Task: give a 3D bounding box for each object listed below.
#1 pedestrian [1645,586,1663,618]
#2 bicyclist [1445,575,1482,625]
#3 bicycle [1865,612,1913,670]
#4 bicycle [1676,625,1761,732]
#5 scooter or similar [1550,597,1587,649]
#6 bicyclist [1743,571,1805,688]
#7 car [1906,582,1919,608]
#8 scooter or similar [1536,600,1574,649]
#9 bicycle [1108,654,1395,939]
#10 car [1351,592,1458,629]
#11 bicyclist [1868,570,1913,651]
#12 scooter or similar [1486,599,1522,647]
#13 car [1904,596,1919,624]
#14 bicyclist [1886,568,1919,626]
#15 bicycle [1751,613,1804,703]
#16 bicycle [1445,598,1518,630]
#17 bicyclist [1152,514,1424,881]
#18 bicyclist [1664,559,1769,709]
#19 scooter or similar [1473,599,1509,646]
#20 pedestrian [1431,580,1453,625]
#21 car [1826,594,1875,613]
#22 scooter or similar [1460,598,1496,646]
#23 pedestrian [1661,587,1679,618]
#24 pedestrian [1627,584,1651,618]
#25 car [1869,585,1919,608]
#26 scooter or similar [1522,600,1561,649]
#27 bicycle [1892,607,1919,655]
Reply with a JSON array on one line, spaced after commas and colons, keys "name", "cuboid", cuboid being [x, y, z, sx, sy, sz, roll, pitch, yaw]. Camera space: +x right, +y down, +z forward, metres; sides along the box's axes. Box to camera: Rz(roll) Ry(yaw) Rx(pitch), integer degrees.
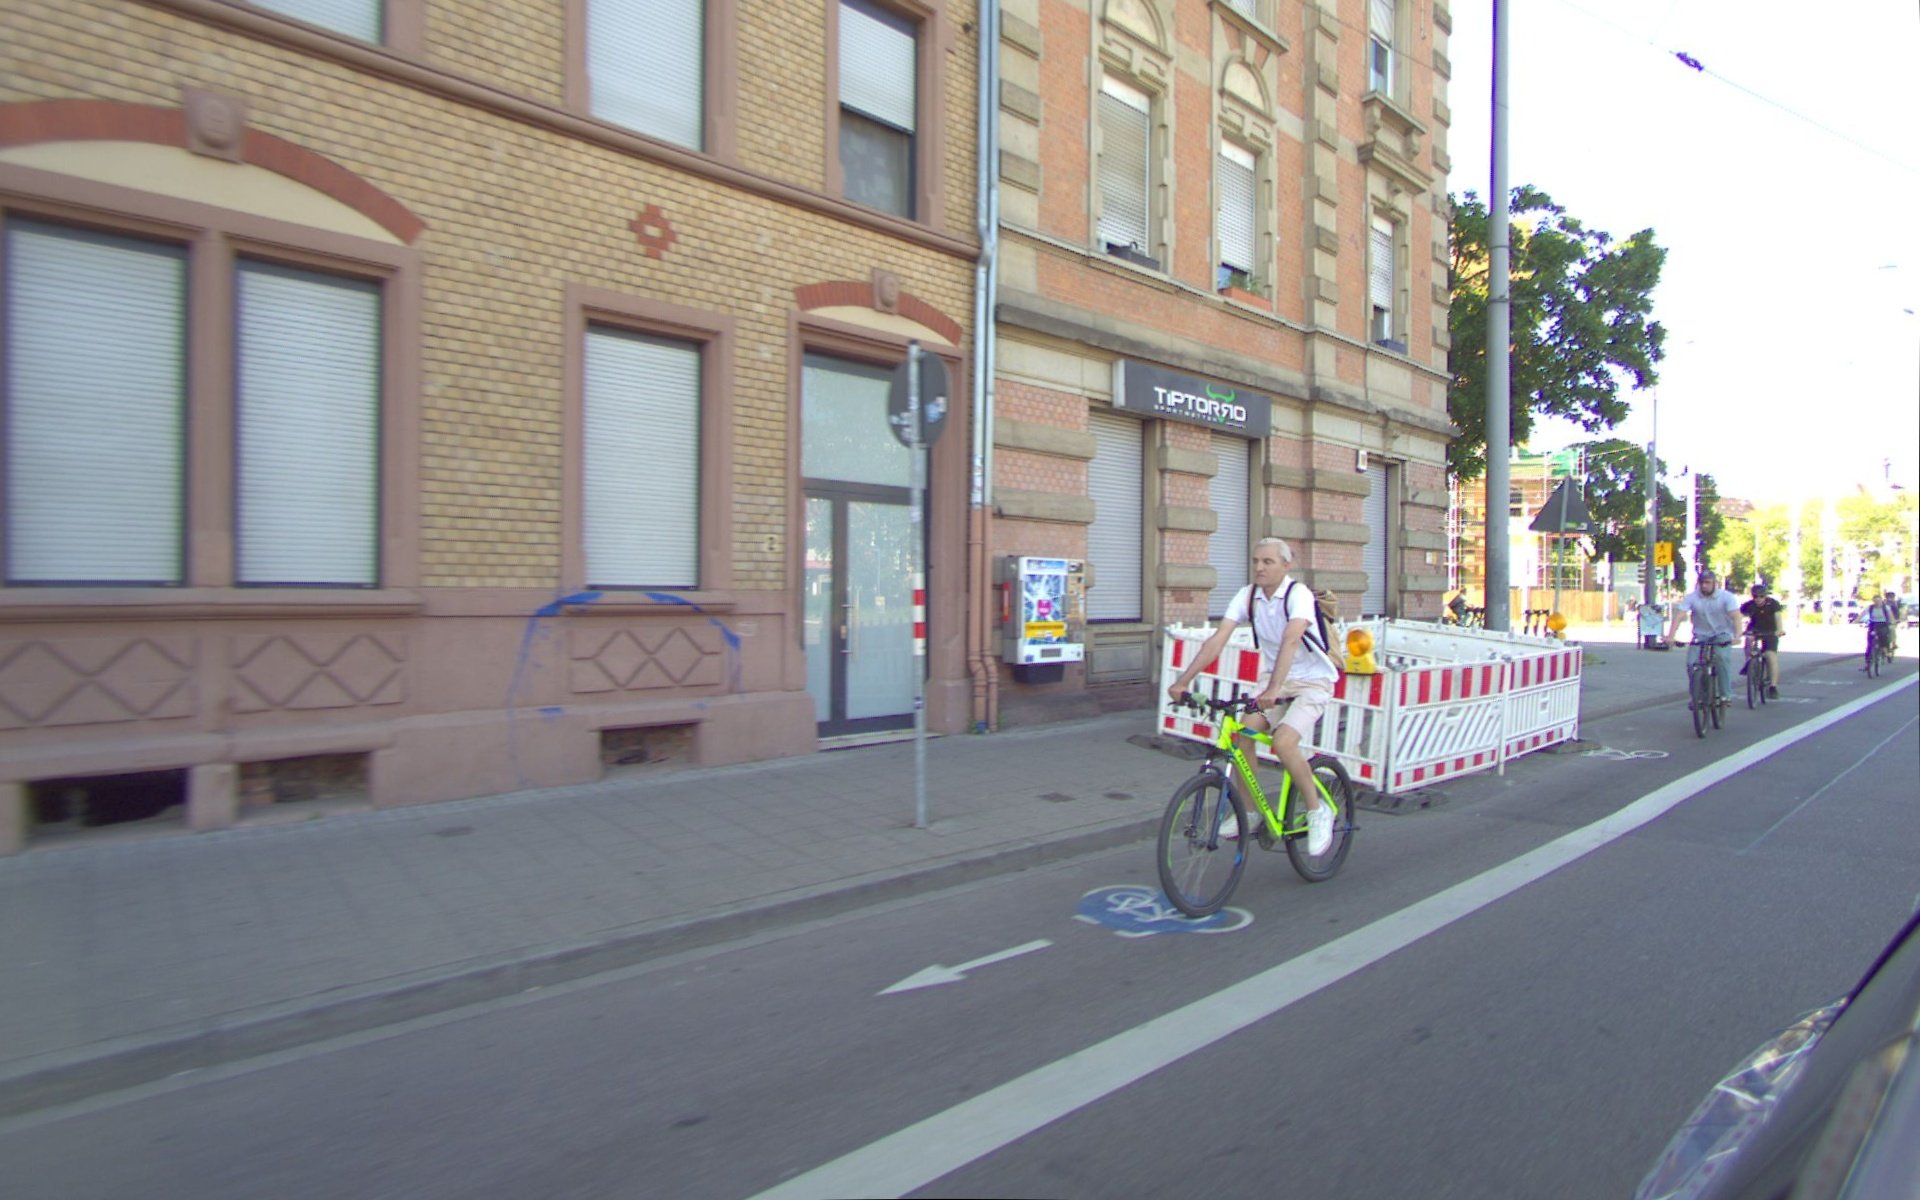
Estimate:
[{"name": "pedestrian", "cuboid": [38.830, 0.119, 56.648, 0.810, 1.779, 0.659, -1, -1, -45]}, {"name": "bicyclist", "cuboid": [17.315, 0.007, 34.816, 1.029, 1.681, 0.453, -1, -1, 9]}, {"name": "bicycle", "cuboid": [19.008, 0.817, 20.689, 1.900, 1.132, 0.532, 1, -1, -42]}, {"name": "bicycle", "cuboid": [8.659, 0.852, 11.531, 1.900, 1.082, 0.387, 0, 1, -41]}, {"name": "scooter or similar", "cuboid": [15.128, 0.553, 25.147, 1.674, 1.235, 0.270, -1, -1, -41]}, {"name": "bicyclist", "cuboid": [11.823, 0.408, 14.723, 0.621, 1.634, 0.968, -2, -1, 36]}, {"name": "car", "cuboid": [102.950, -0.563, 107.241, 2.220, 2.715, 5.261, -1, 0, 25]}, {"name": "scooter or similar", "cuboid": [14.915, 0.595, 25.352, 1.674, 1.172, 0.270, -1, -1, -41]}, {"name": "bicycle", "cuboid": [1.555, 0.881, 5.173, 1.902, 1.132, 0.532, 0, -2, -45]}, {"name": "car", "cuboid": [20.499, 0.467, 46.820, 4.184, 1.641, 1.913, 0, 1, 11]}, {"name": "bicyclist", "cuboid": [19.215, 0.209, 20.896, 0.936, 1.634, 0.551, -1, -1, -42]}, {"name": "scooter or similar", "cuboid": [14.257, 0.583, 26.528, 1.537, 1.200, 0.270, -1, -1, -41]}, {"name": "car", "cuboid": [57.279, 0.550, 59.432, 1.872, 1.586, 3.968, -1, 0, 31]}, {"name": "bicyclist", "cuboid": [23.954, -0.067, 25.629, 1.019, 1.439, 0.674, -1, -1, -45]}, {"name": "bicycle", "cuboid": [11.739, 0.794, 14.566, 0.530, 1.131, 1.908, 0, 1, 37]}, {"name": "bicycle", "cuboid": [17.913, 0.484, 34.767, 2.160, 1.072, 0.487, 0, 0, 10]}, {"name": "bicyclist", "cuboid": [1.665, 0.442, 5.200, 1.096, 1.705, 0.684, -1, -1, -19]}, {"name": "bicyclist", "cuboid": [8.600, 0.364, 11.503, 0.870, 1.613, 0.784, 0, 0, -40]}, {"name": "scooter or similar", "cuboid": [14.045, 0.588, 26.763, 1.537, 1.200, 0.270, -1, -1, -41]}, {"name": "pedestrian", "cuboid": [20.044, 0.098, 42.102, 0.639, 1.872, 0.546, -1, -1, 7]}, {"name": "car", "cuboid": [74.068, 0.258, 84.276, 1.903, 1.477, 4.625, -1, 0, 27]}, {"name": "scooter or similar", "cuboid": [13.836, 0.576, 27.022, 1.537, 1.211, 0.270, -1, -1, -41]}, {"name": "pedestrian", "cuboid": [39.854, 0.146, 56.770, 0.810, 1.698, 0.659, -1, -1, -45]}, {"name": "pedestrian", "cuboid": [39.086, 0.063, 58.289, 1.032, 1.954, 0.931, -1, -1, -45]}, {"name": "car", "cuboid": [65.923, -0.258, 71.399, 1.872, 1.586, 3.968, -1, 0, 31]}, {"name": "scooter or similar", "cuboid": [14.701, 0.615, 25.569, 1.674, 1.178, 0.270, -1, -1, -41]}, {"name": "bicycle", "cuboid": [23.837, 0.784, 25.458, 0.531, 1.173, 1.835, -1, -2, 44]}]
